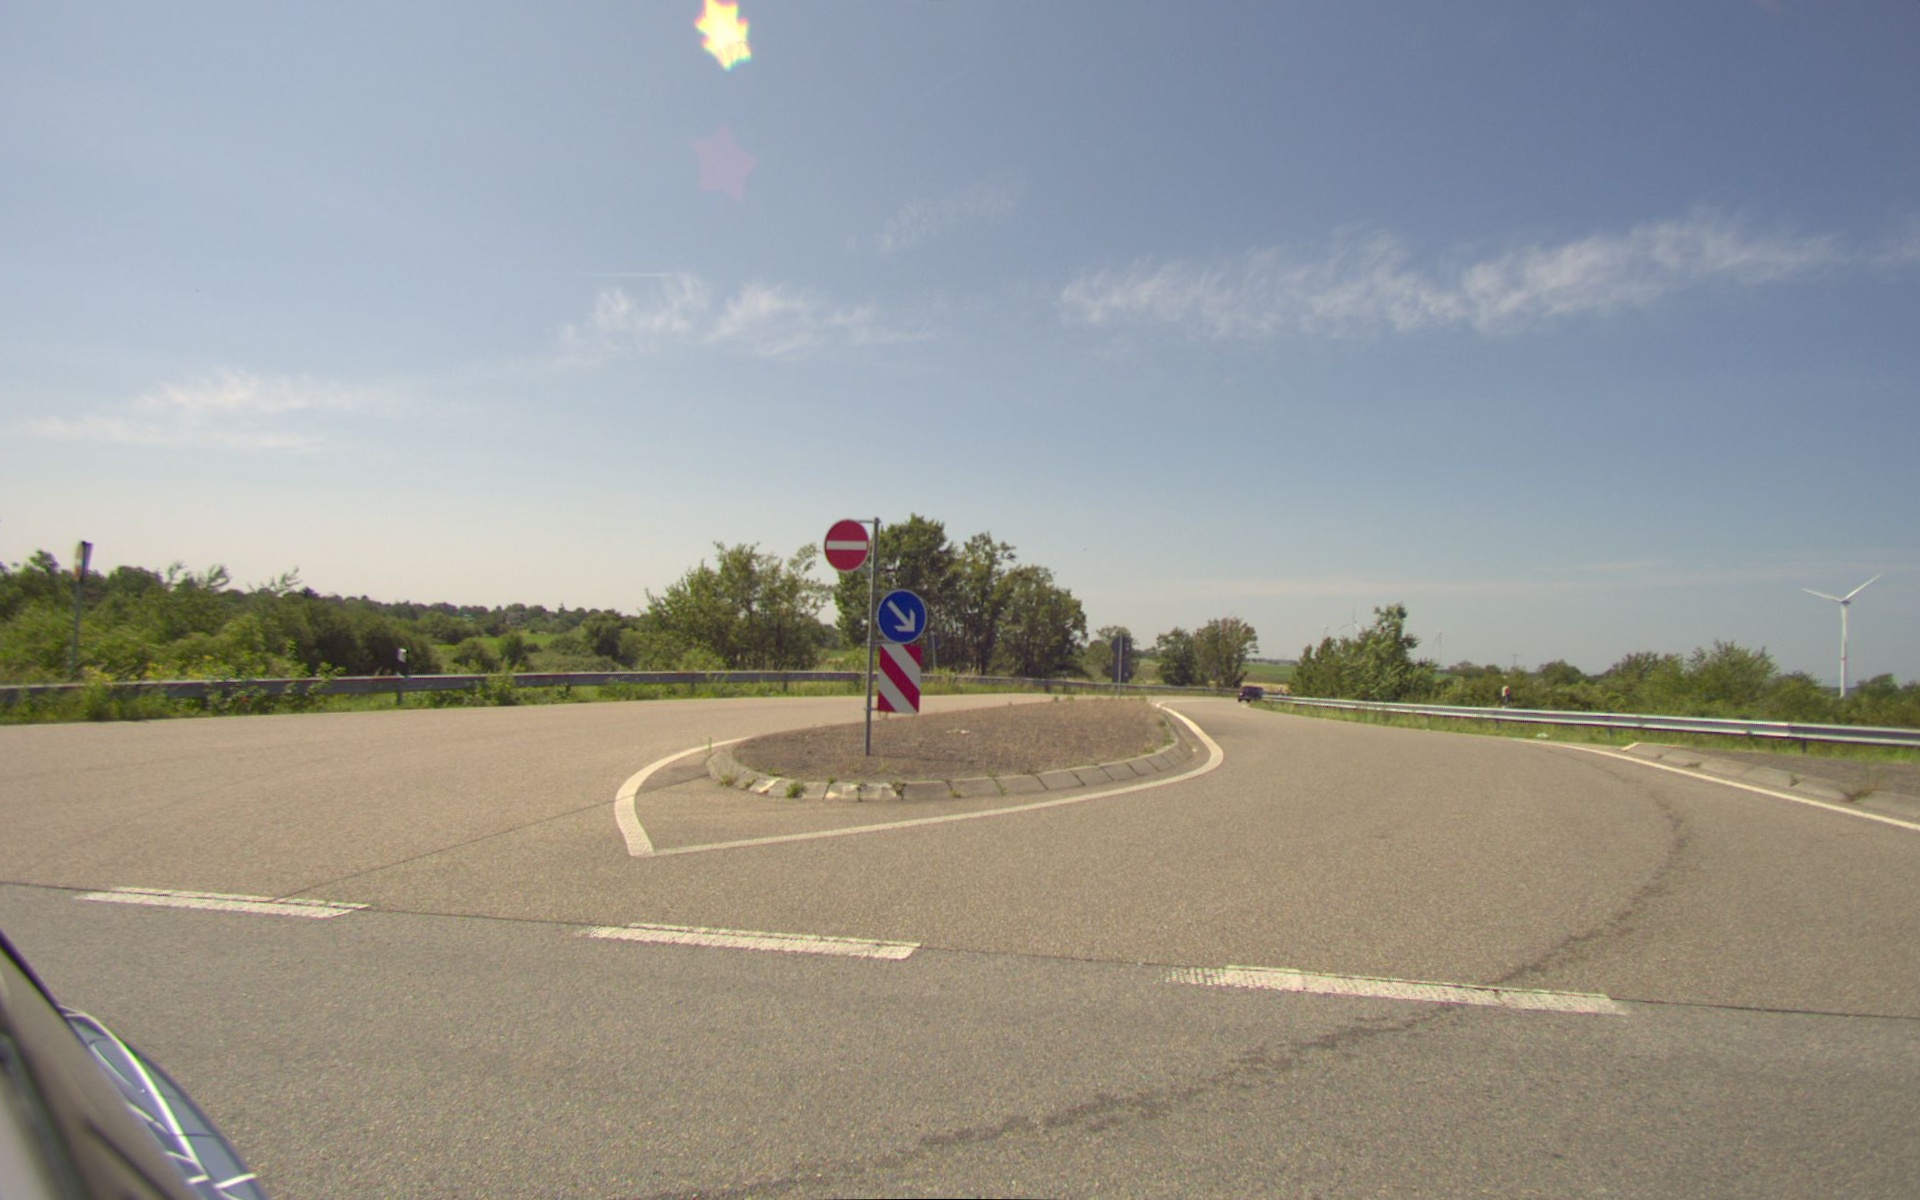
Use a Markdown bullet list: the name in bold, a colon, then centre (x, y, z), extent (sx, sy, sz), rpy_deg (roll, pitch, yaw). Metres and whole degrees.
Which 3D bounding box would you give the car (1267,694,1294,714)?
- **car**: centre (30.795, 10.012, 97.099), extent (1.734, 1.775, 4.043), rpy_deg (1, -5, 28)

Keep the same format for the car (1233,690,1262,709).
- **car**: centre (24.002, 8.312, 84.504), extent (1.704, 1.406, 3.853), rpy_deg (2, -5, 25)
